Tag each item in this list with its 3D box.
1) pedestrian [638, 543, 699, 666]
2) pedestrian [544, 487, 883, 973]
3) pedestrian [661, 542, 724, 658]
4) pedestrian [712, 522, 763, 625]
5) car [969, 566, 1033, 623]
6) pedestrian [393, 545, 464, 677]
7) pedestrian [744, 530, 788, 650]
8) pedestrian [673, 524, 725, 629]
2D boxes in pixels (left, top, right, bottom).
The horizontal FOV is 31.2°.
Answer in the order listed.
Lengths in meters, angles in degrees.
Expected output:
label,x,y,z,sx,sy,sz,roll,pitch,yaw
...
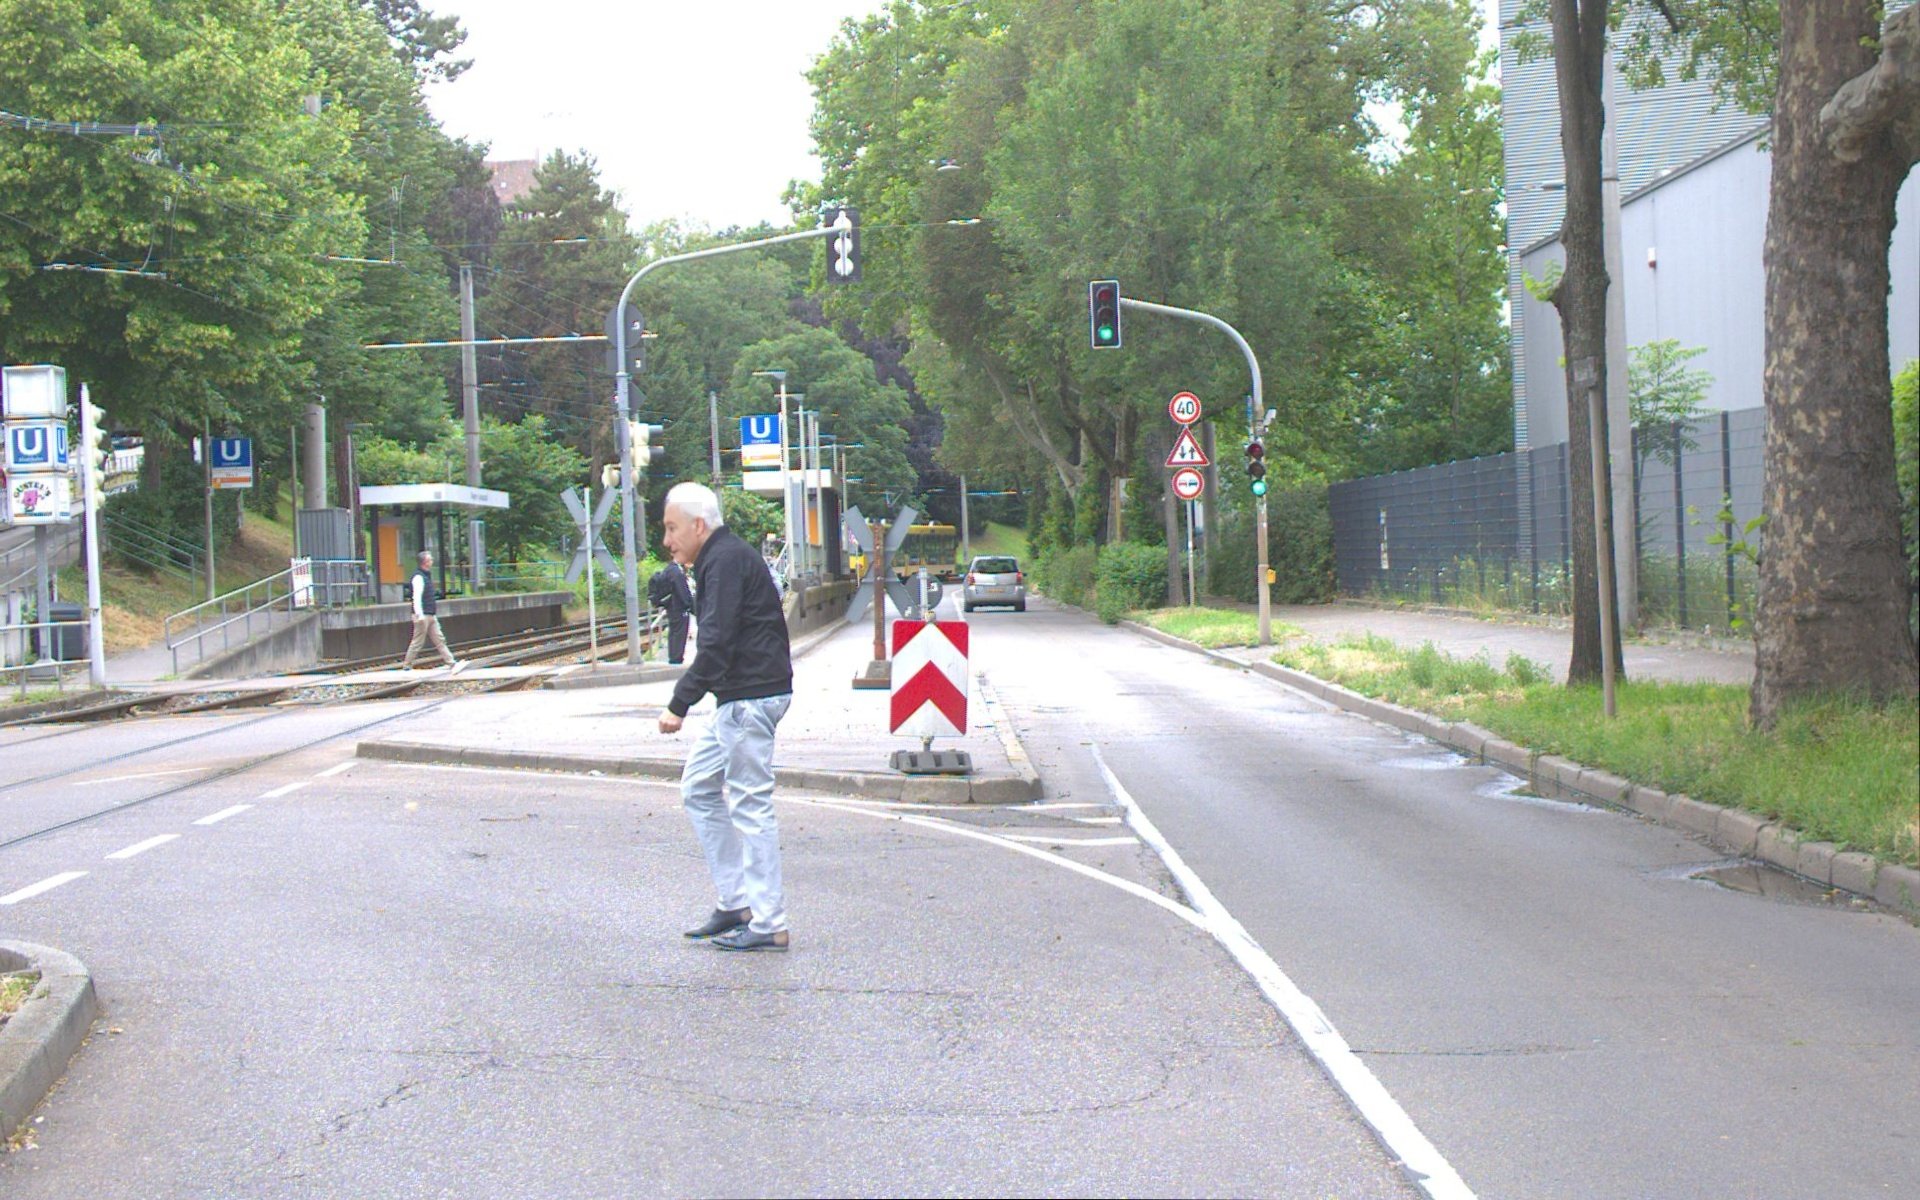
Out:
label,x,y,z,sx,sy,sz,roll,pitch,yaw
pedestrian,-3.987,0.063,47.053,0.735,1.659,0.682,1,0,1
pedestrian,-0.912,0.463,12.928,1.117,1.754,0.813,1,0,7
pedestrian,-3.879,-0.008,49.815,0.680,1.659,0.737,1,0,15
pedestrian,-3.610,-0.431,55.768,0.735,1.659,0.682,1,0,-11
car,1.178,-0.171,99.812,1.743,1.593,4.000,1,1,-1
pedestrian,-7.353,0.151,47.548,0.802,1.815,0.670,1,0,-23
pedestrian,-2.864,-0.155,50.795,0.550,1.752,0.737,1,0,4
pedestrian,-4.177,-0.377,54.950,0.735,1.659,0.682,1,0,-11
